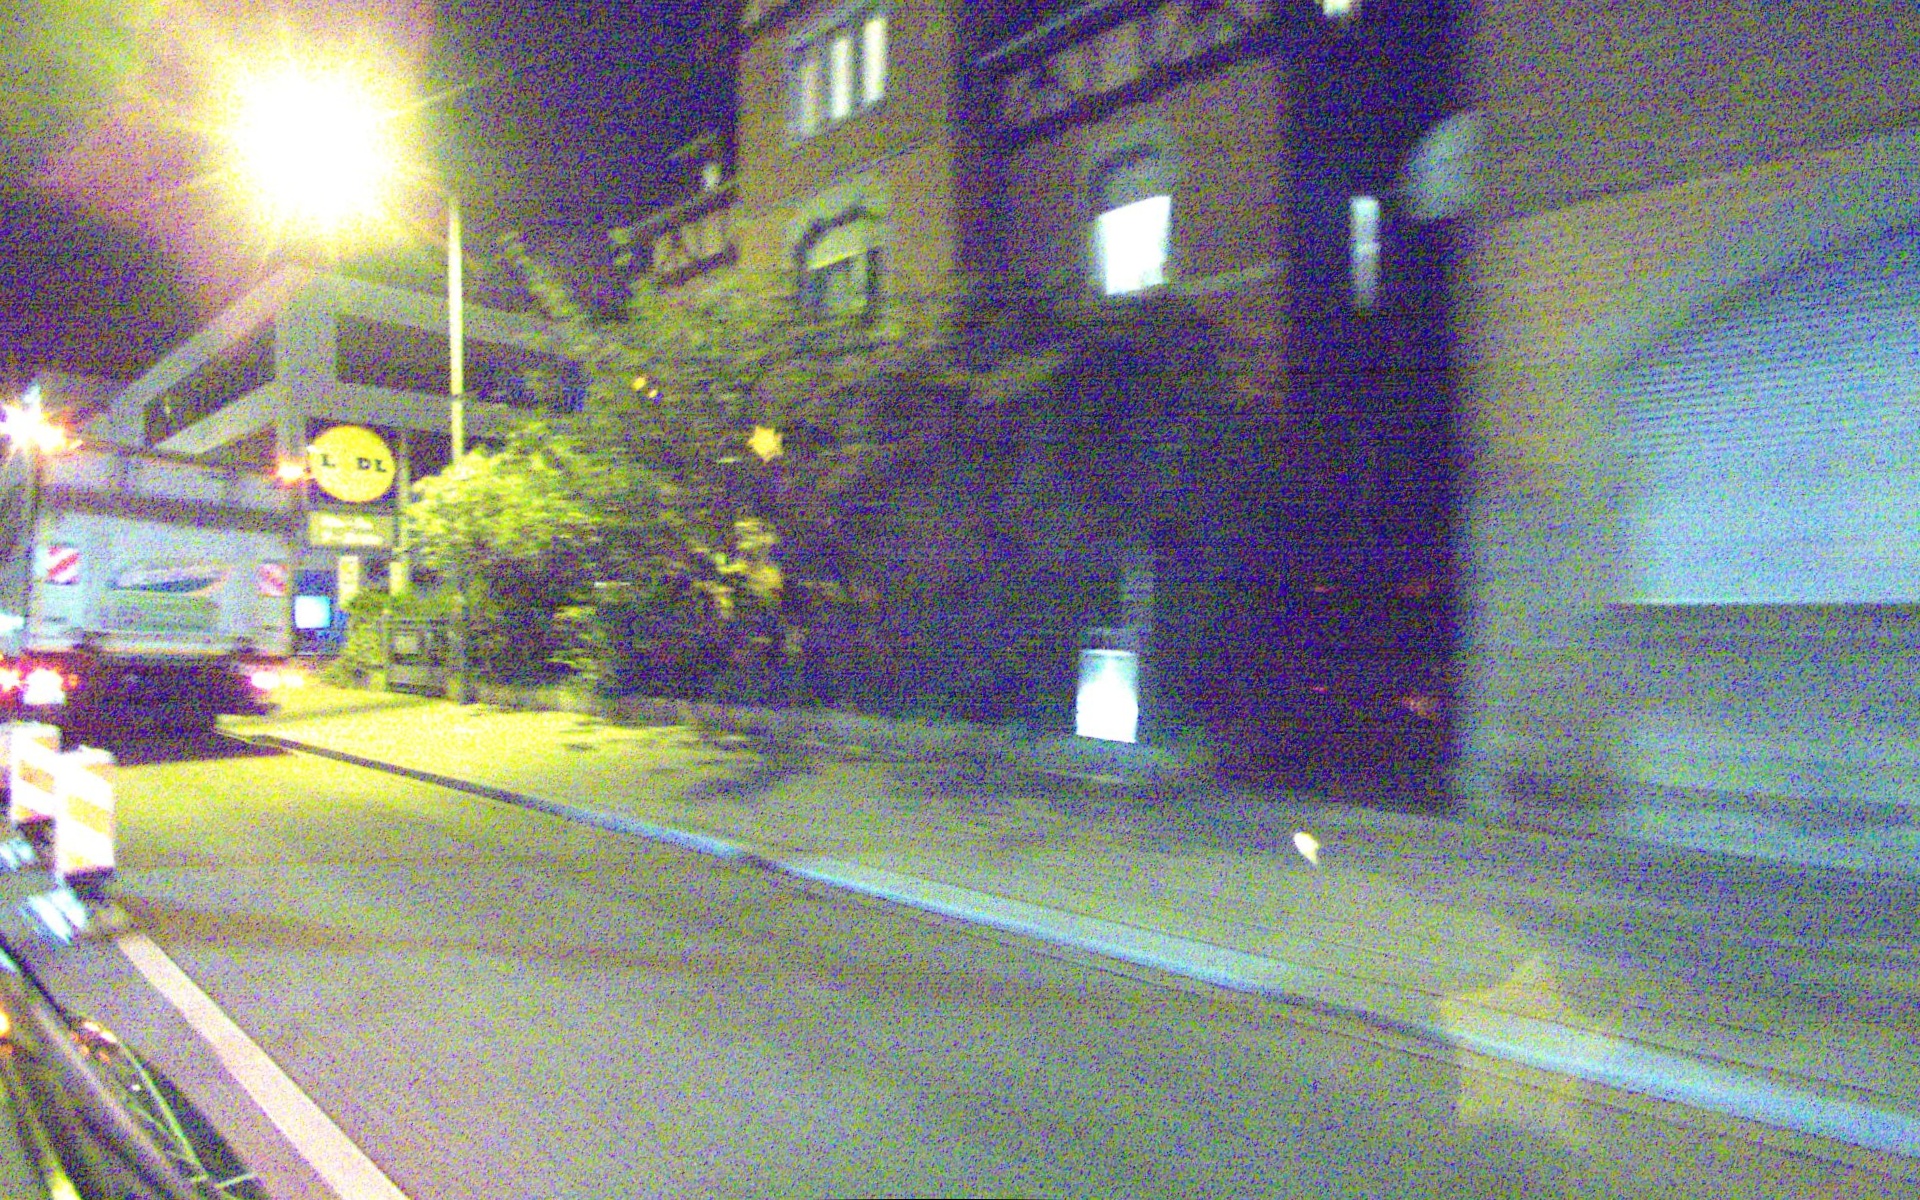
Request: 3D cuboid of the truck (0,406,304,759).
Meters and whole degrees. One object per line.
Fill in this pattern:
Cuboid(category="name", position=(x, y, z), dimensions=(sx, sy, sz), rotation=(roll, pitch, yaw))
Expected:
Cuboid(category="truck", position=(-12.987, -0.008, 15.084), dimensions=(10.107, 3.746, 2.726), rotation=(-3, -2, 41))
